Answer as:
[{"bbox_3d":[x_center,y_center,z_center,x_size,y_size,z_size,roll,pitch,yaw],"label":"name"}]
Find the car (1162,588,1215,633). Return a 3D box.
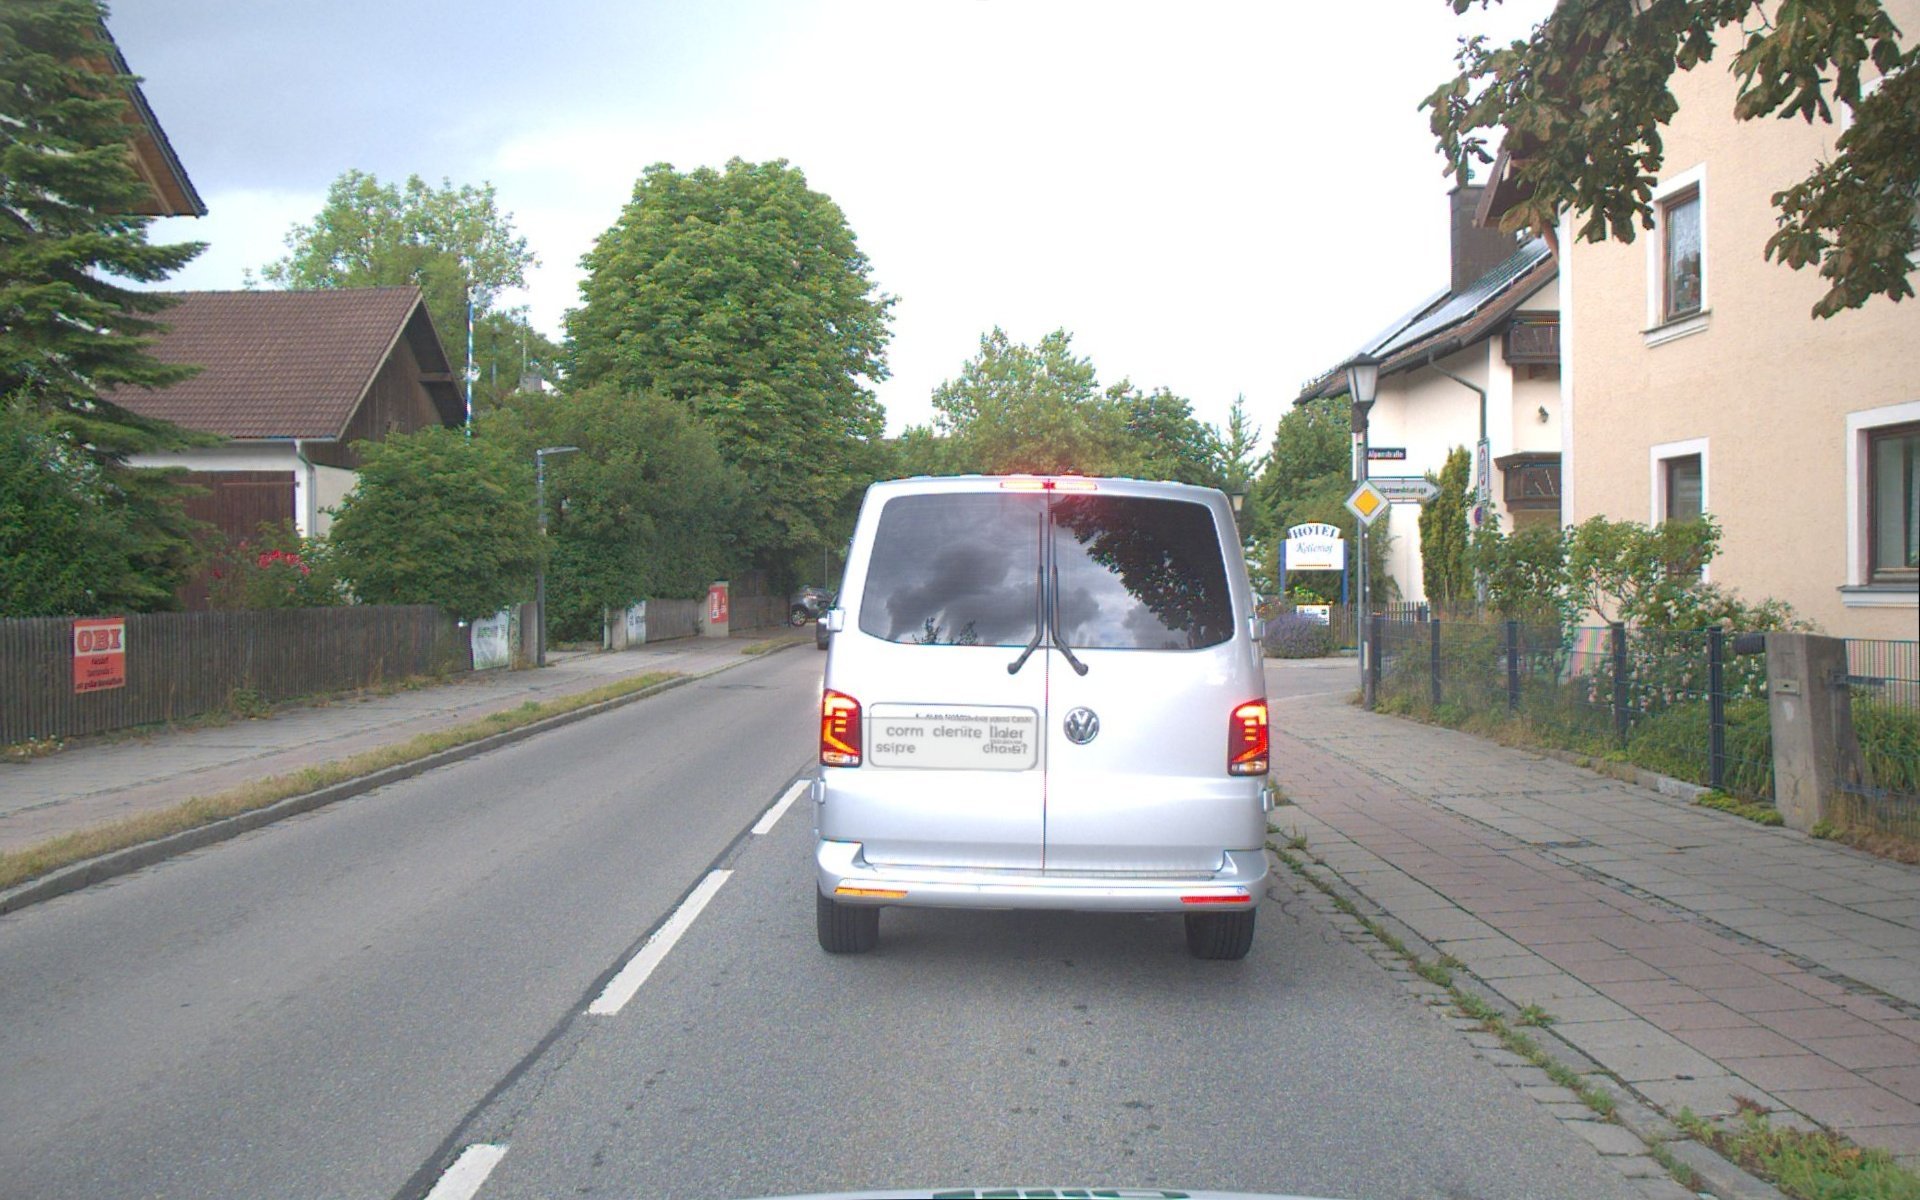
[{"bbox_3d":[9.354,0.410,67.488,1.841,1.779,4.084,0,0,12],"label":"car"}]

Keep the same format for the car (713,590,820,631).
[{"bbox_3d":[-7.292,0.391,62.187,3.912,1.512,1.996,0,0,-9],"label":"car"}]

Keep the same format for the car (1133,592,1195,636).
[{"bbox_3d":[7.487,0.483,60.483,1.841,1.562,3.924,0,0,13],"label":"car"}]

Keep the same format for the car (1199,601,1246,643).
[{"bbox_3d":[12.084,0.970,76.033,1.841,1.857,3.924,0,0,13],"label":"car"}]

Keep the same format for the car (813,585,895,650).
[{"bbox_3d":[-2.760,0.432,43.892,1.891,1.602,4.311,1,0,-1],"label":"car"}]

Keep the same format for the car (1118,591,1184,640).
[{"bbox_3d":[6.333,0.482,54.563,1.841,1.562,3.924,0,0,11],"label":"car"}]

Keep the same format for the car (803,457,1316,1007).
[{"bbox_3d":[0.373,0.466,7.923,1.842,1.974,3.921,0,0,0],"label":"car"}]
